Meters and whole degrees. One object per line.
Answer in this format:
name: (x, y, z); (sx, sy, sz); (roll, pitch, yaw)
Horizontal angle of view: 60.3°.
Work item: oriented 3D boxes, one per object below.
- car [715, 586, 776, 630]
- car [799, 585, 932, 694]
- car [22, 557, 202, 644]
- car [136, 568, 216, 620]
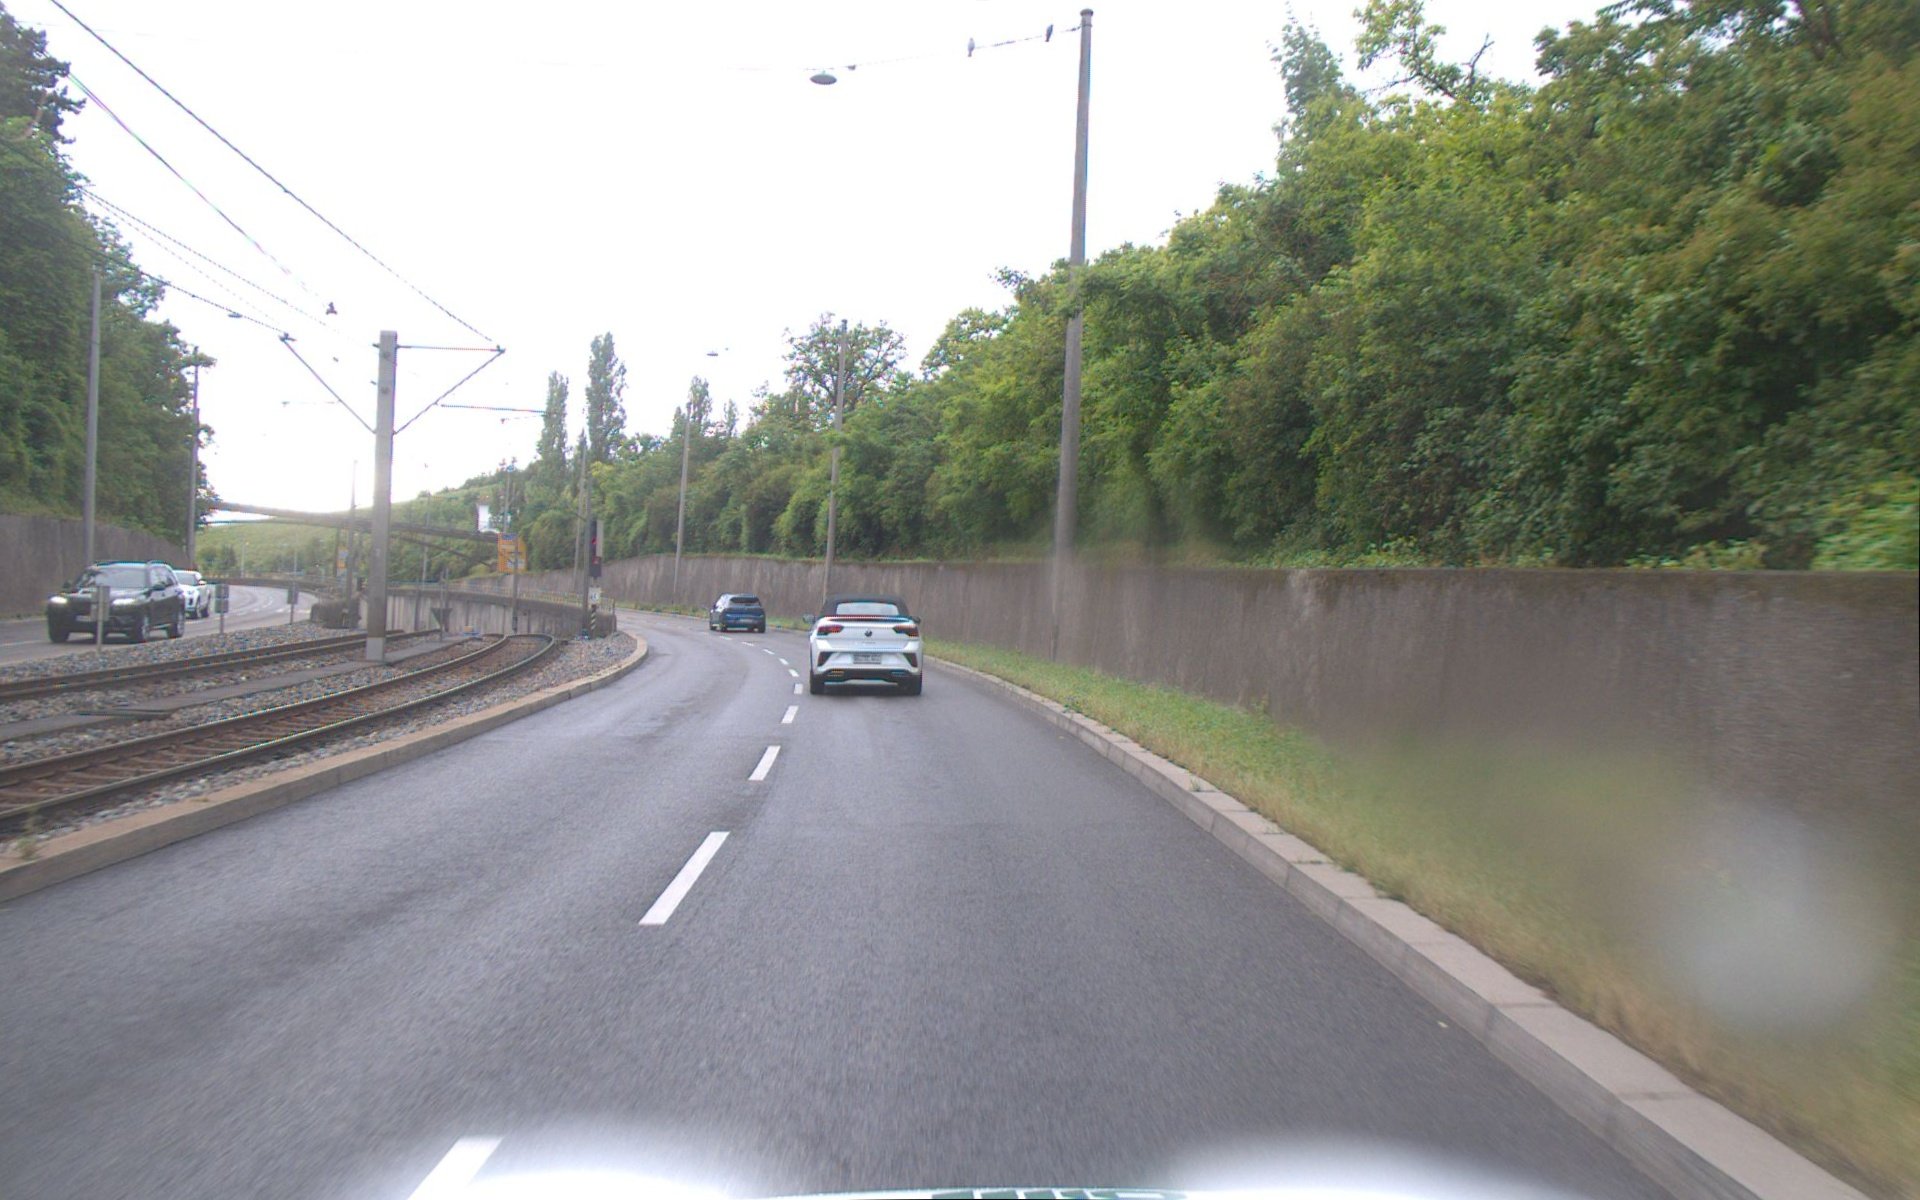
car: (-8.416, 0.276, 64.627); (1.894, 1.627, 4.046); (1, 0, -14)
car: (-1.593, 0.580, 26.899); (1.957, 1.606, 4.121); (1, 0, -5)
car: (-19.635, 0.008, 38.583); (2.192, 1.863, 5.126); (1, 0, -9)
car: (-27.414, -0.210, 57.978); (1.904, 1.713, 4.386); (1, 0, -18)
